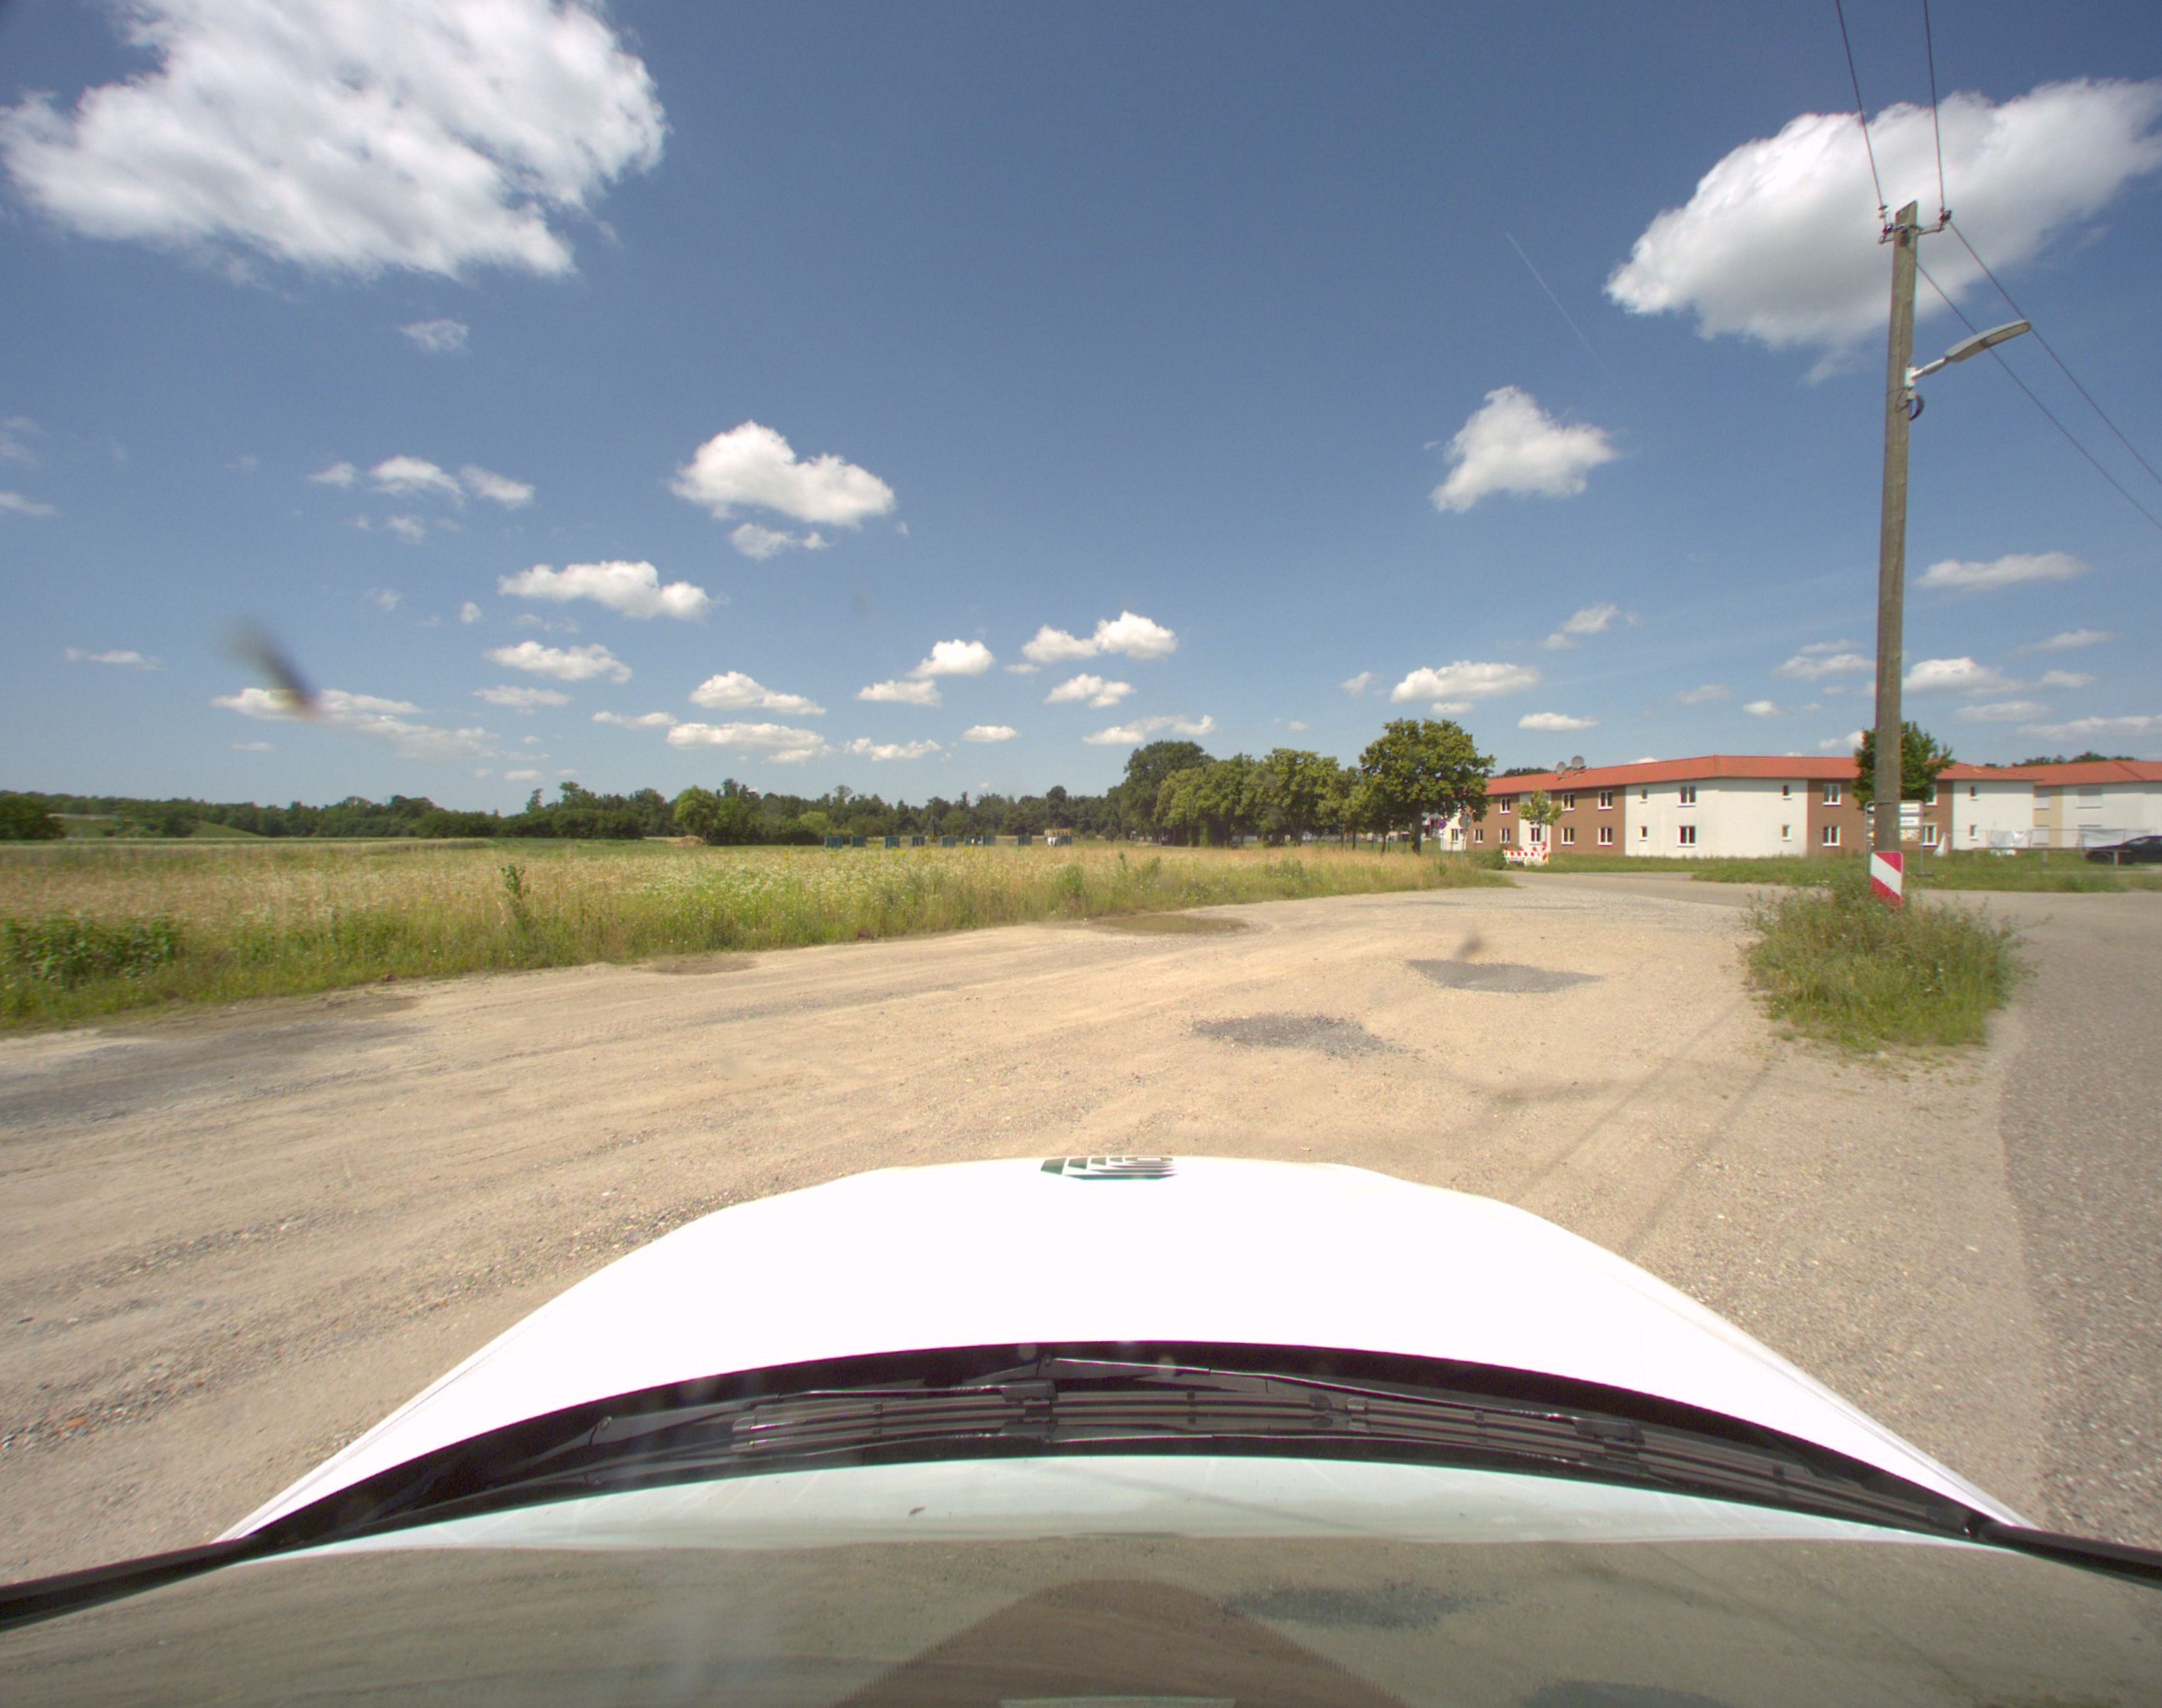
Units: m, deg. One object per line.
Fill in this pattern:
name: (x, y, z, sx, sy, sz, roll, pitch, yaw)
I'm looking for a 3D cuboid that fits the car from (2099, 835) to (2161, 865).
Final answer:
car: (57.582, -0.217, 43.117, 1.993, 1.614, 4.136, 0, 1, -9)
